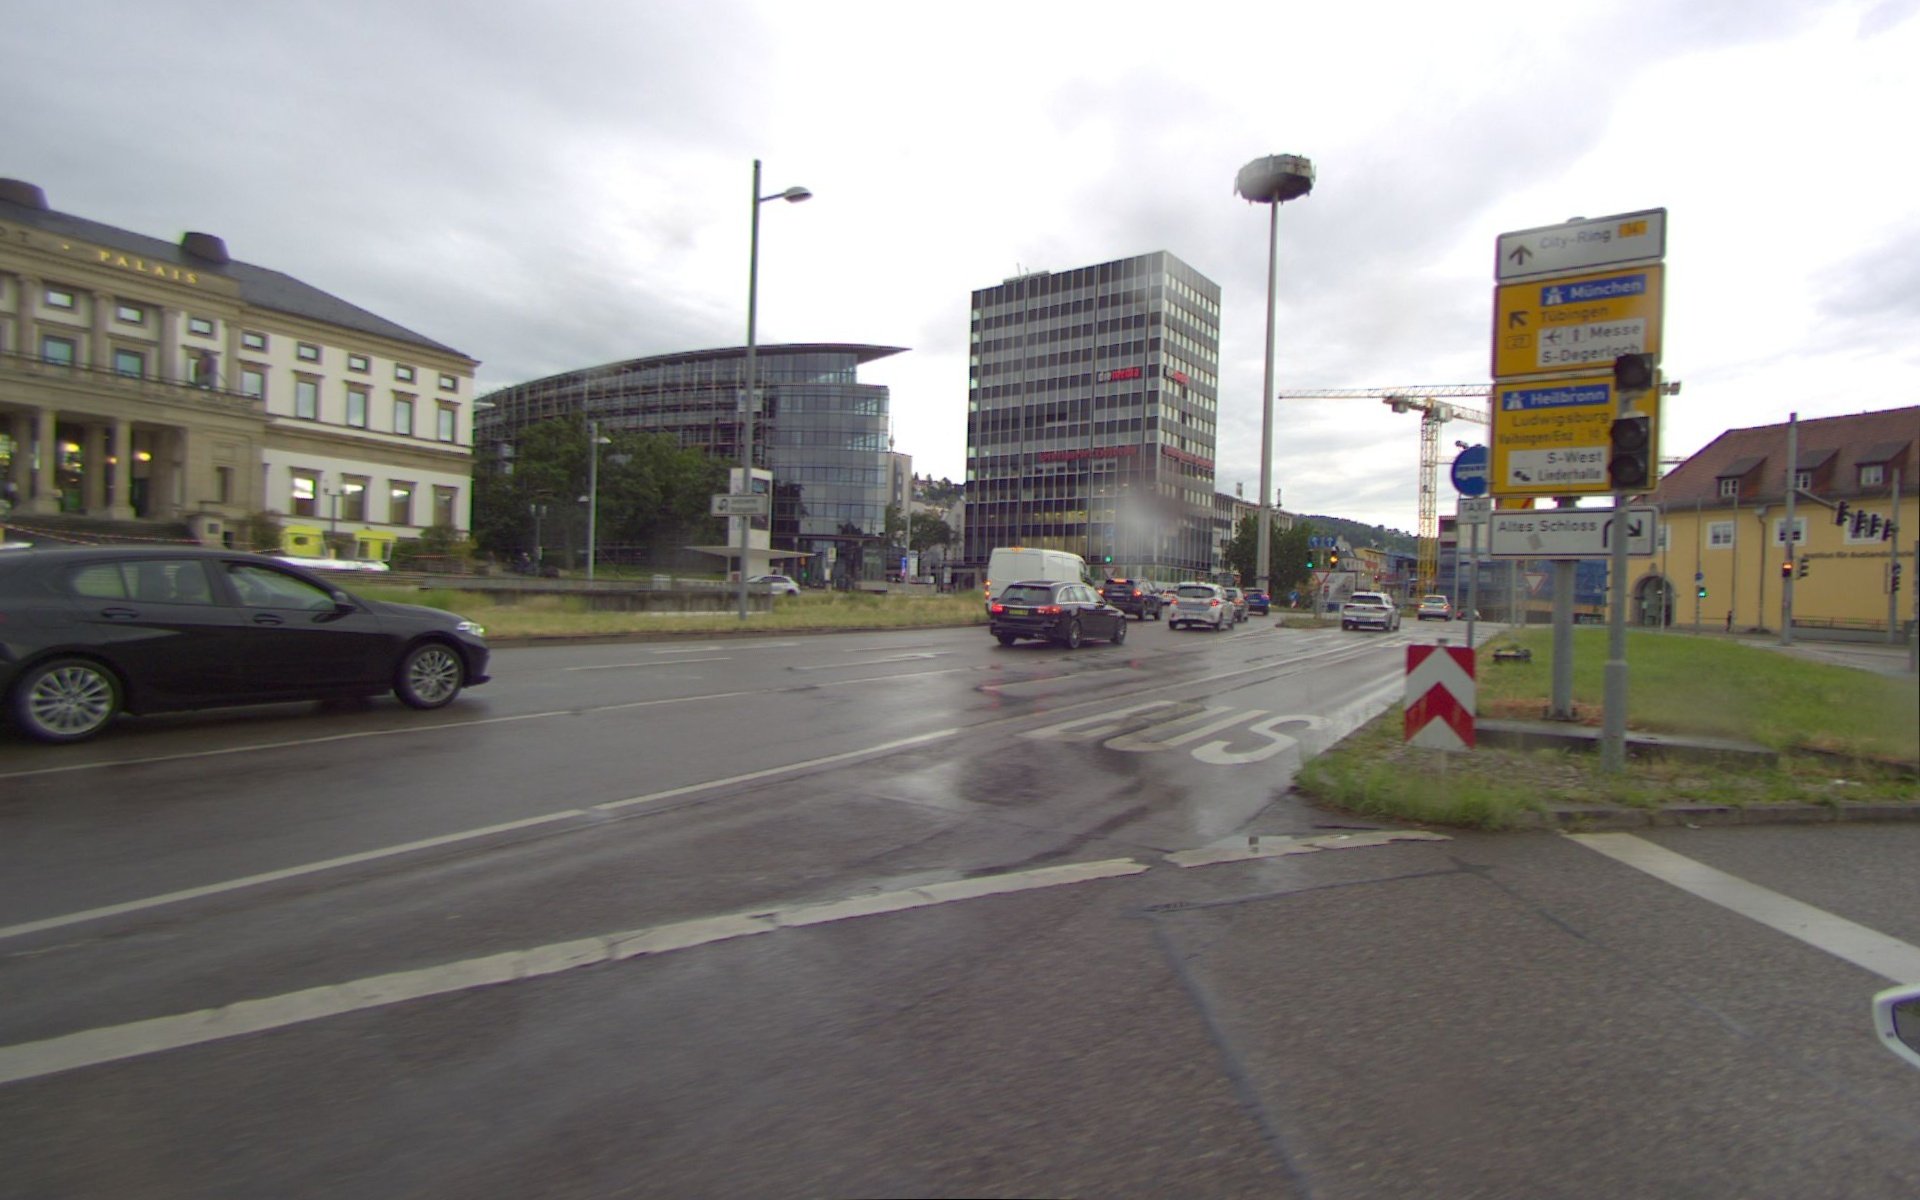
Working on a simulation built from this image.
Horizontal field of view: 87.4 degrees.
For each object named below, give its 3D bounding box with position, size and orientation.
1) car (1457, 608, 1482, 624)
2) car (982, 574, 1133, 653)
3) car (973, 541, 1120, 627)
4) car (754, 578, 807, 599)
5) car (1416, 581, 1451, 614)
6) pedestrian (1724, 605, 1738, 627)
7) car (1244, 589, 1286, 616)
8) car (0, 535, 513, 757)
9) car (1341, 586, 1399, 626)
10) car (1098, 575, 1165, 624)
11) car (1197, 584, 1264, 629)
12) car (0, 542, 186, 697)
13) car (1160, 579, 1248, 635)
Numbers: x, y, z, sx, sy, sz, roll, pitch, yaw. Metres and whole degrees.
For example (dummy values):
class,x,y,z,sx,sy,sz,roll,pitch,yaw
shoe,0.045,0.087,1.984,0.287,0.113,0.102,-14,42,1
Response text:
class,x,y,z,sx,sy,sz,roll,pitch,yaw
car,47.304,1.492,93.184,1.691,1.383,3.060,4,0,33
car,2.203,0.272,22.018,1.805,1.514,3.387,4,1,35
car,2.758,-0.430,30.883,2.261,2.344,4.992,4,0,34
car,-9.620,-0.625,53.965,2.617,0.953,1.032,3,0,-41
car,27.724,-0.151,58.751,1.642,1.765,3.282,4,3,27
pedestrian,49.474,1.037,64.436,0.437,1.386,0.454,3,0,-18
car,17.452,0.150,57.465,1.472,1.387,3.025,4,0,33
car,-6.295,0.270,8.646,1.729,1.491,4.211,3,2,32
car,15.580,0.245,38.157,1.426,1.377,2.403,4,0,36
car,6.700,0.004,39.108,1.443,1.729,3.134,3,0,31
car,11.630,0.314,43.004,1.692,1.750,3.485,4,0,33
car,-9.791,0.148,9.285,1.521,1.434,3.891,3,2,33
car,8.146,0.246,33.368,1.853,1.674,3.451,4,0,31
